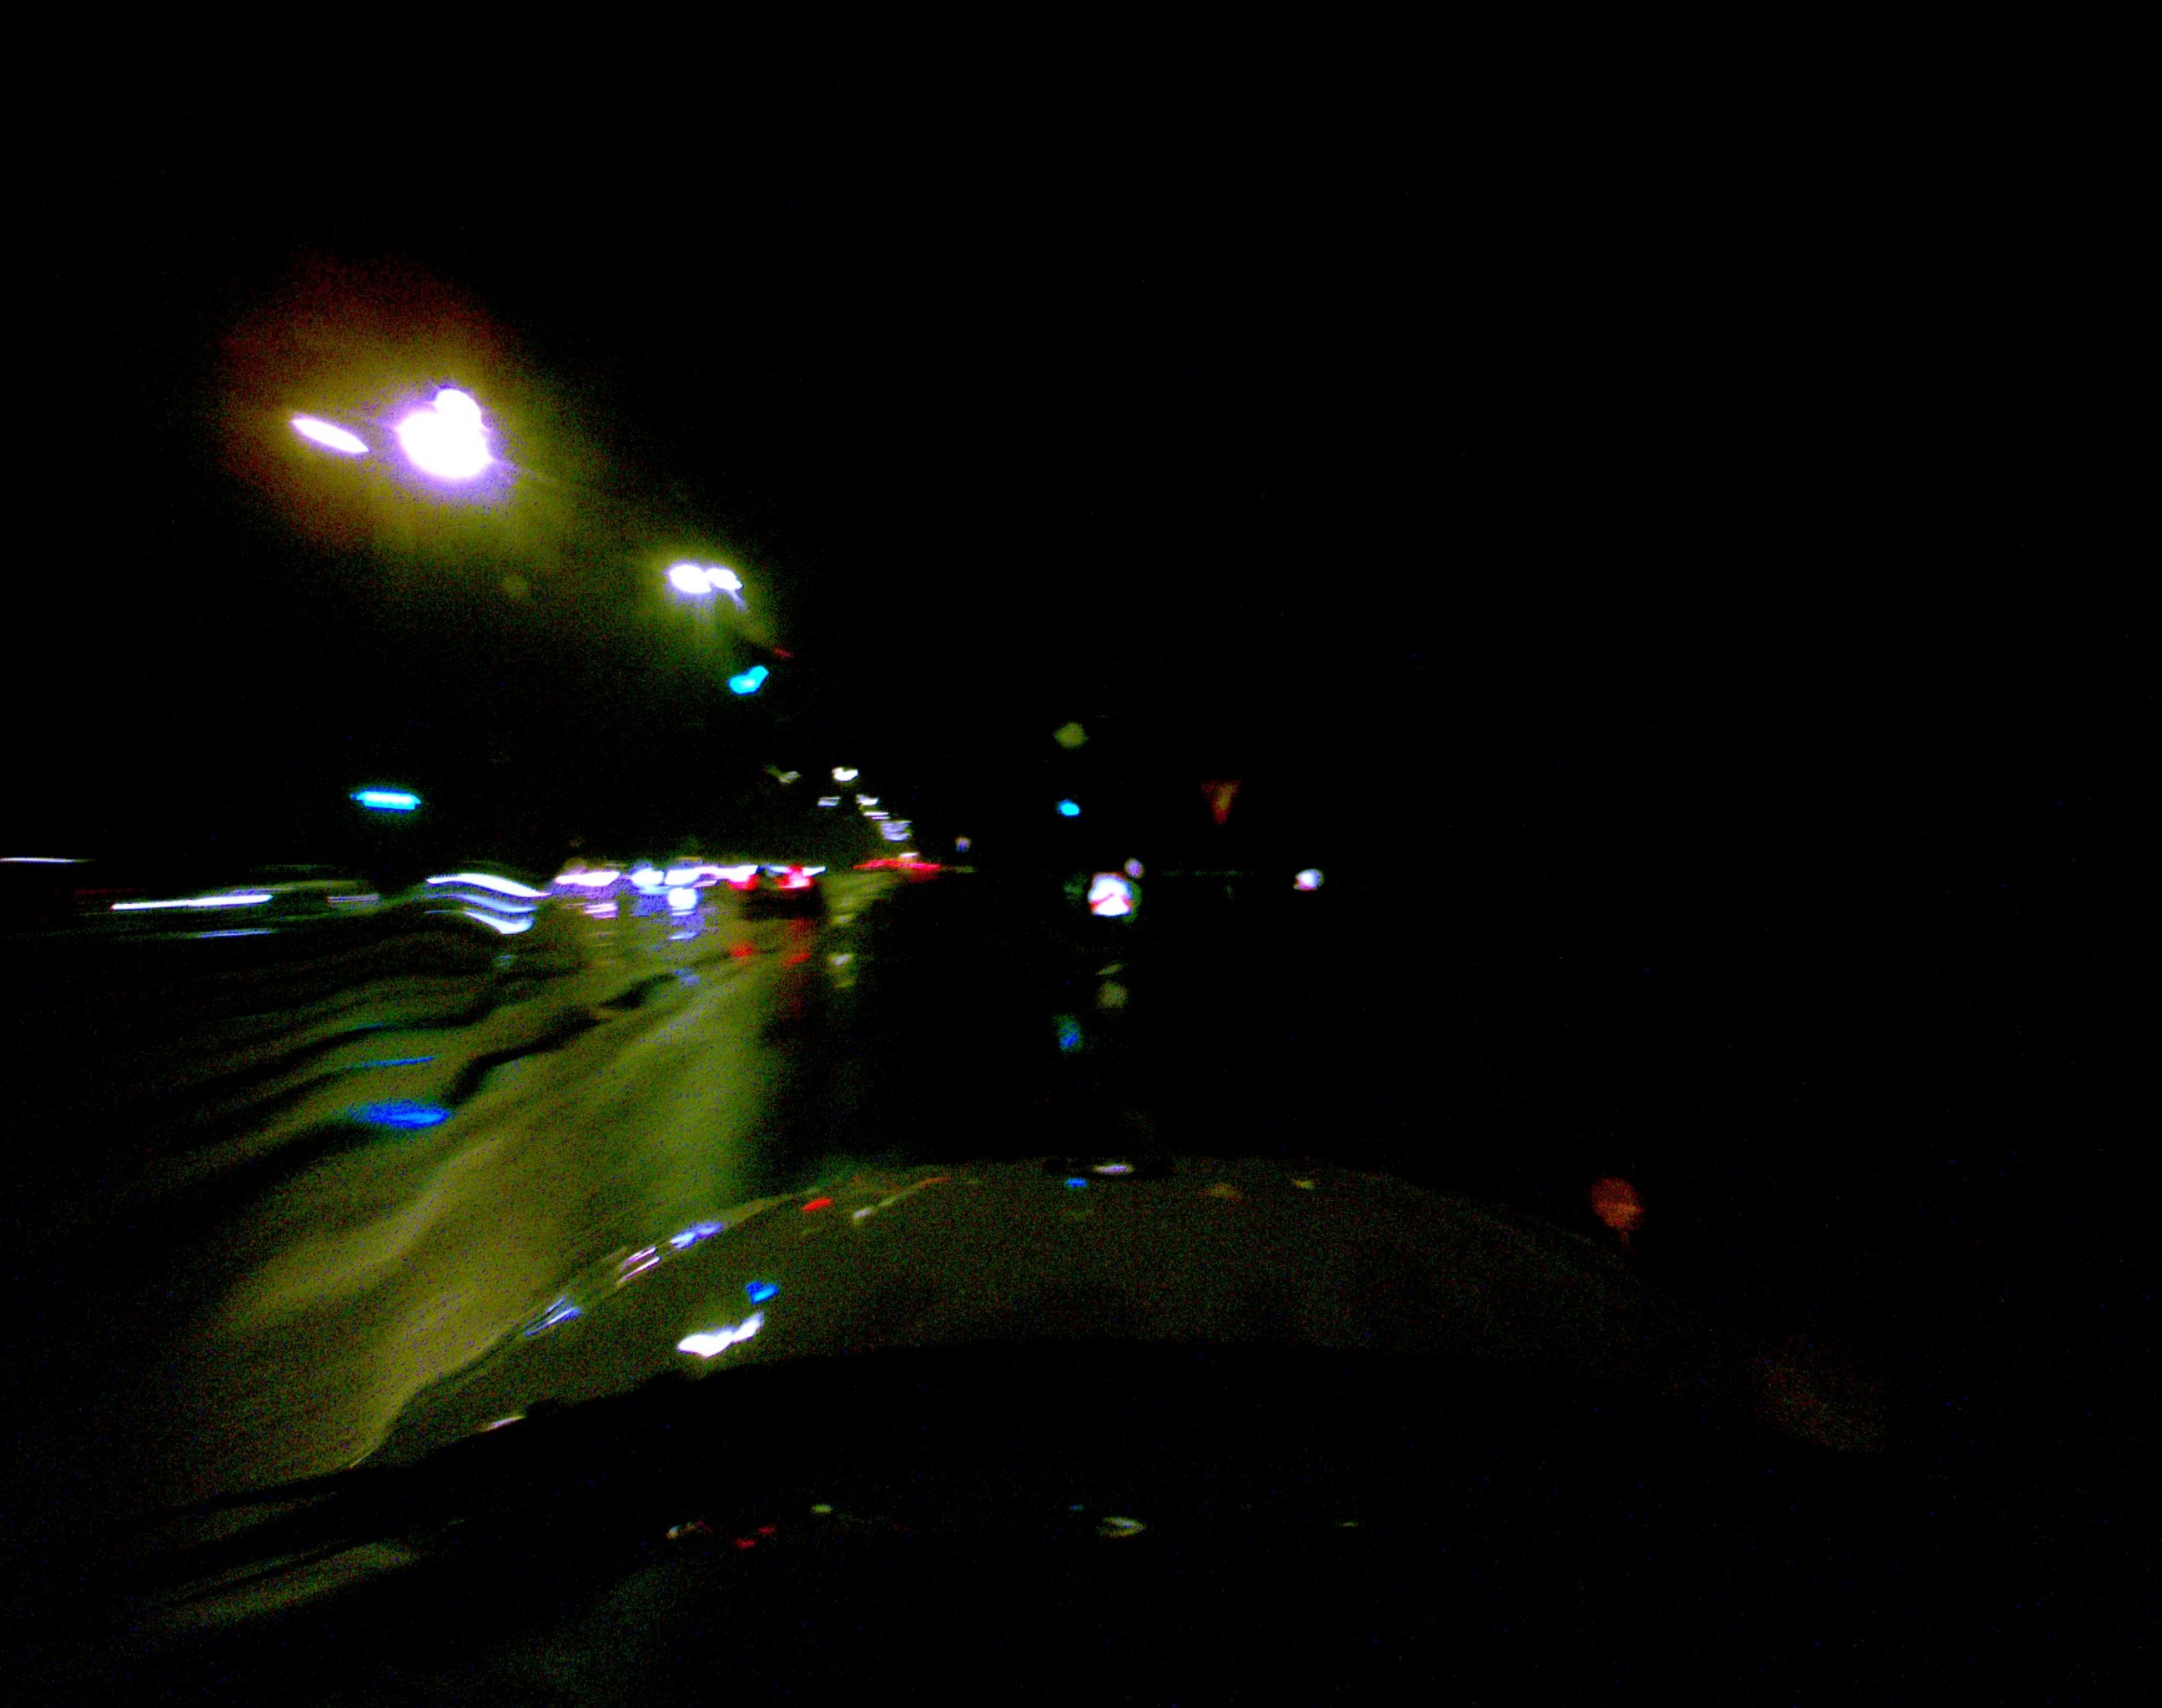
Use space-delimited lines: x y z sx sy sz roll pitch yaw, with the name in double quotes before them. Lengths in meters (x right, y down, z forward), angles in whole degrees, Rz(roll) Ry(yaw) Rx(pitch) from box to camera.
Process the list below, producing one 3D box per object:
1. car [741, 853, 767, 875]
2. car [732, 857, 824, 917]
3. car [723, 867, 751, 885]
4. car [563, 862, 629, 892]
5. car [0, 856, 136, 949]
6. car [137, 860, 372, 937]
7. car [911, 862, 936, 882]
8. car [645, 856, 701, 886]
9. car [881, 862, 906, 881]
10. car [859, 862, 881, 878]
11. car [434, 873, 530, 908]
"car" -31.415 0.938 78.280 1.589 2.014 3.779 0 0 -10
"car" -8.185 0.834 22.361 1.798 1.452 4.250 1 0 -13
"car" -35.556 2.250 84.187 1.749 1.840 4.001 0 -1 -10
"car" -24.495 1.124 41.277 1.665 1.448 3.805 0 0 -11
"car" -22.896 0.987 17.075 1.763 1.892 4.190 0 0 -11
"car" -19.929 0.980 19.947 1.781 1.608 4.232 -1 0 -8
"car" -14.514 1.716 75.319 1.908 1.602 3.989 4 -4 -7
"car" -20.381 0.817 40.813 1.589 1.427 3.339 0 0 -9
"car" -18.906 1.771 82.291 2.177 1.602 3.985 4 -4 -10
"car" -25.712 1.956 99.437 2.178 1.602 3.984 4 -4 -11
"car" -26.769 1.617 36.588 1.849 1.456 4.080 1 -2 -11
